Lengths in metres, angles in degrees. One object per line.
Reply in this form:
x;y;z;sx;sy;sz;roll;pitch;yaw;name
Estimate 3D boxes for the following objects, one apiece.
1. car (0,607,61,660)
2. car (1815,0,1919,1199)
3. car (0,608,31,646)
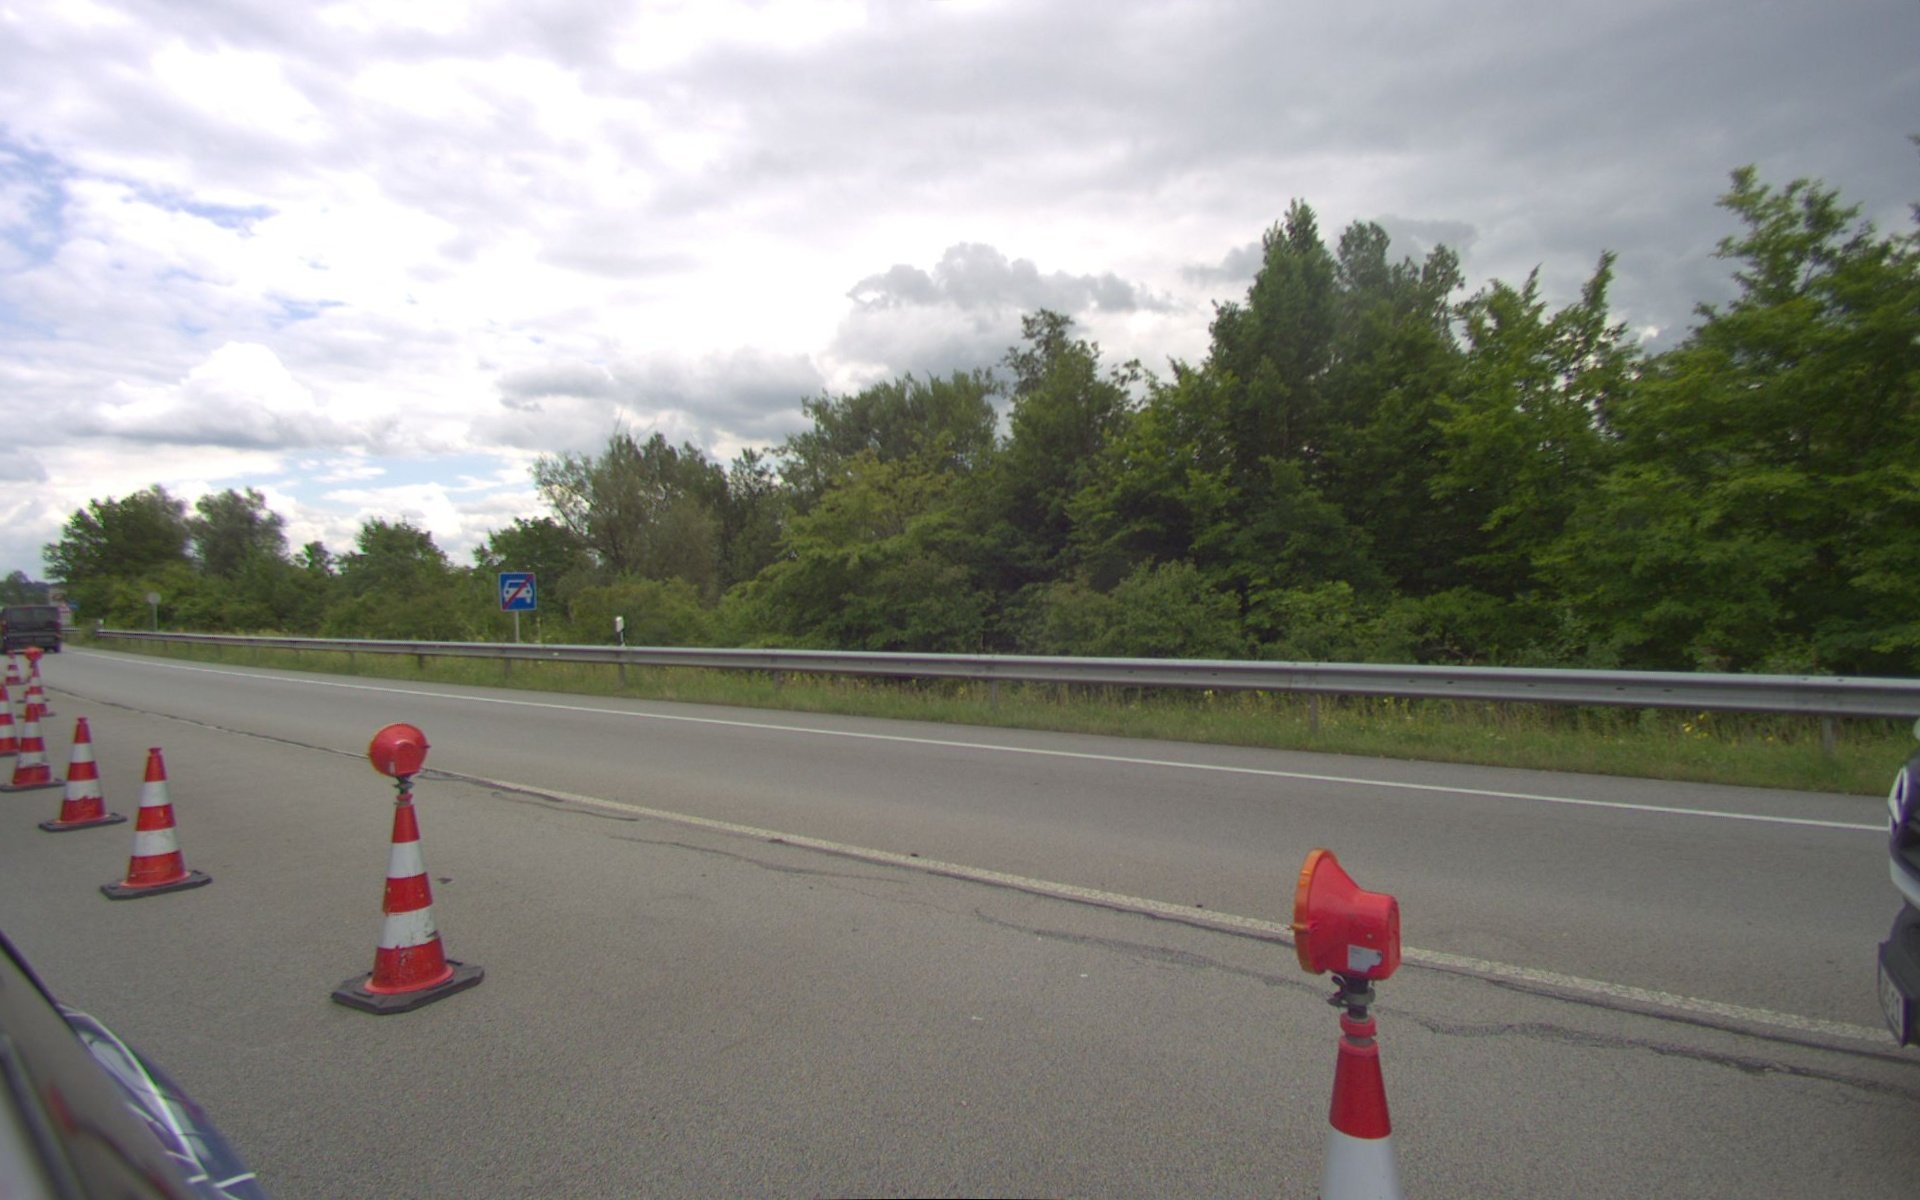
-38.387;1.331;41.313;5.315;2.002;2.007;-1;-1;43;car
4.417;0.095;1.018;5.271;2.482;2.010;-1;-1;38;car
-49.701;1.410;52.501;4.533;1.898;1.945;-1;-1;44;car
